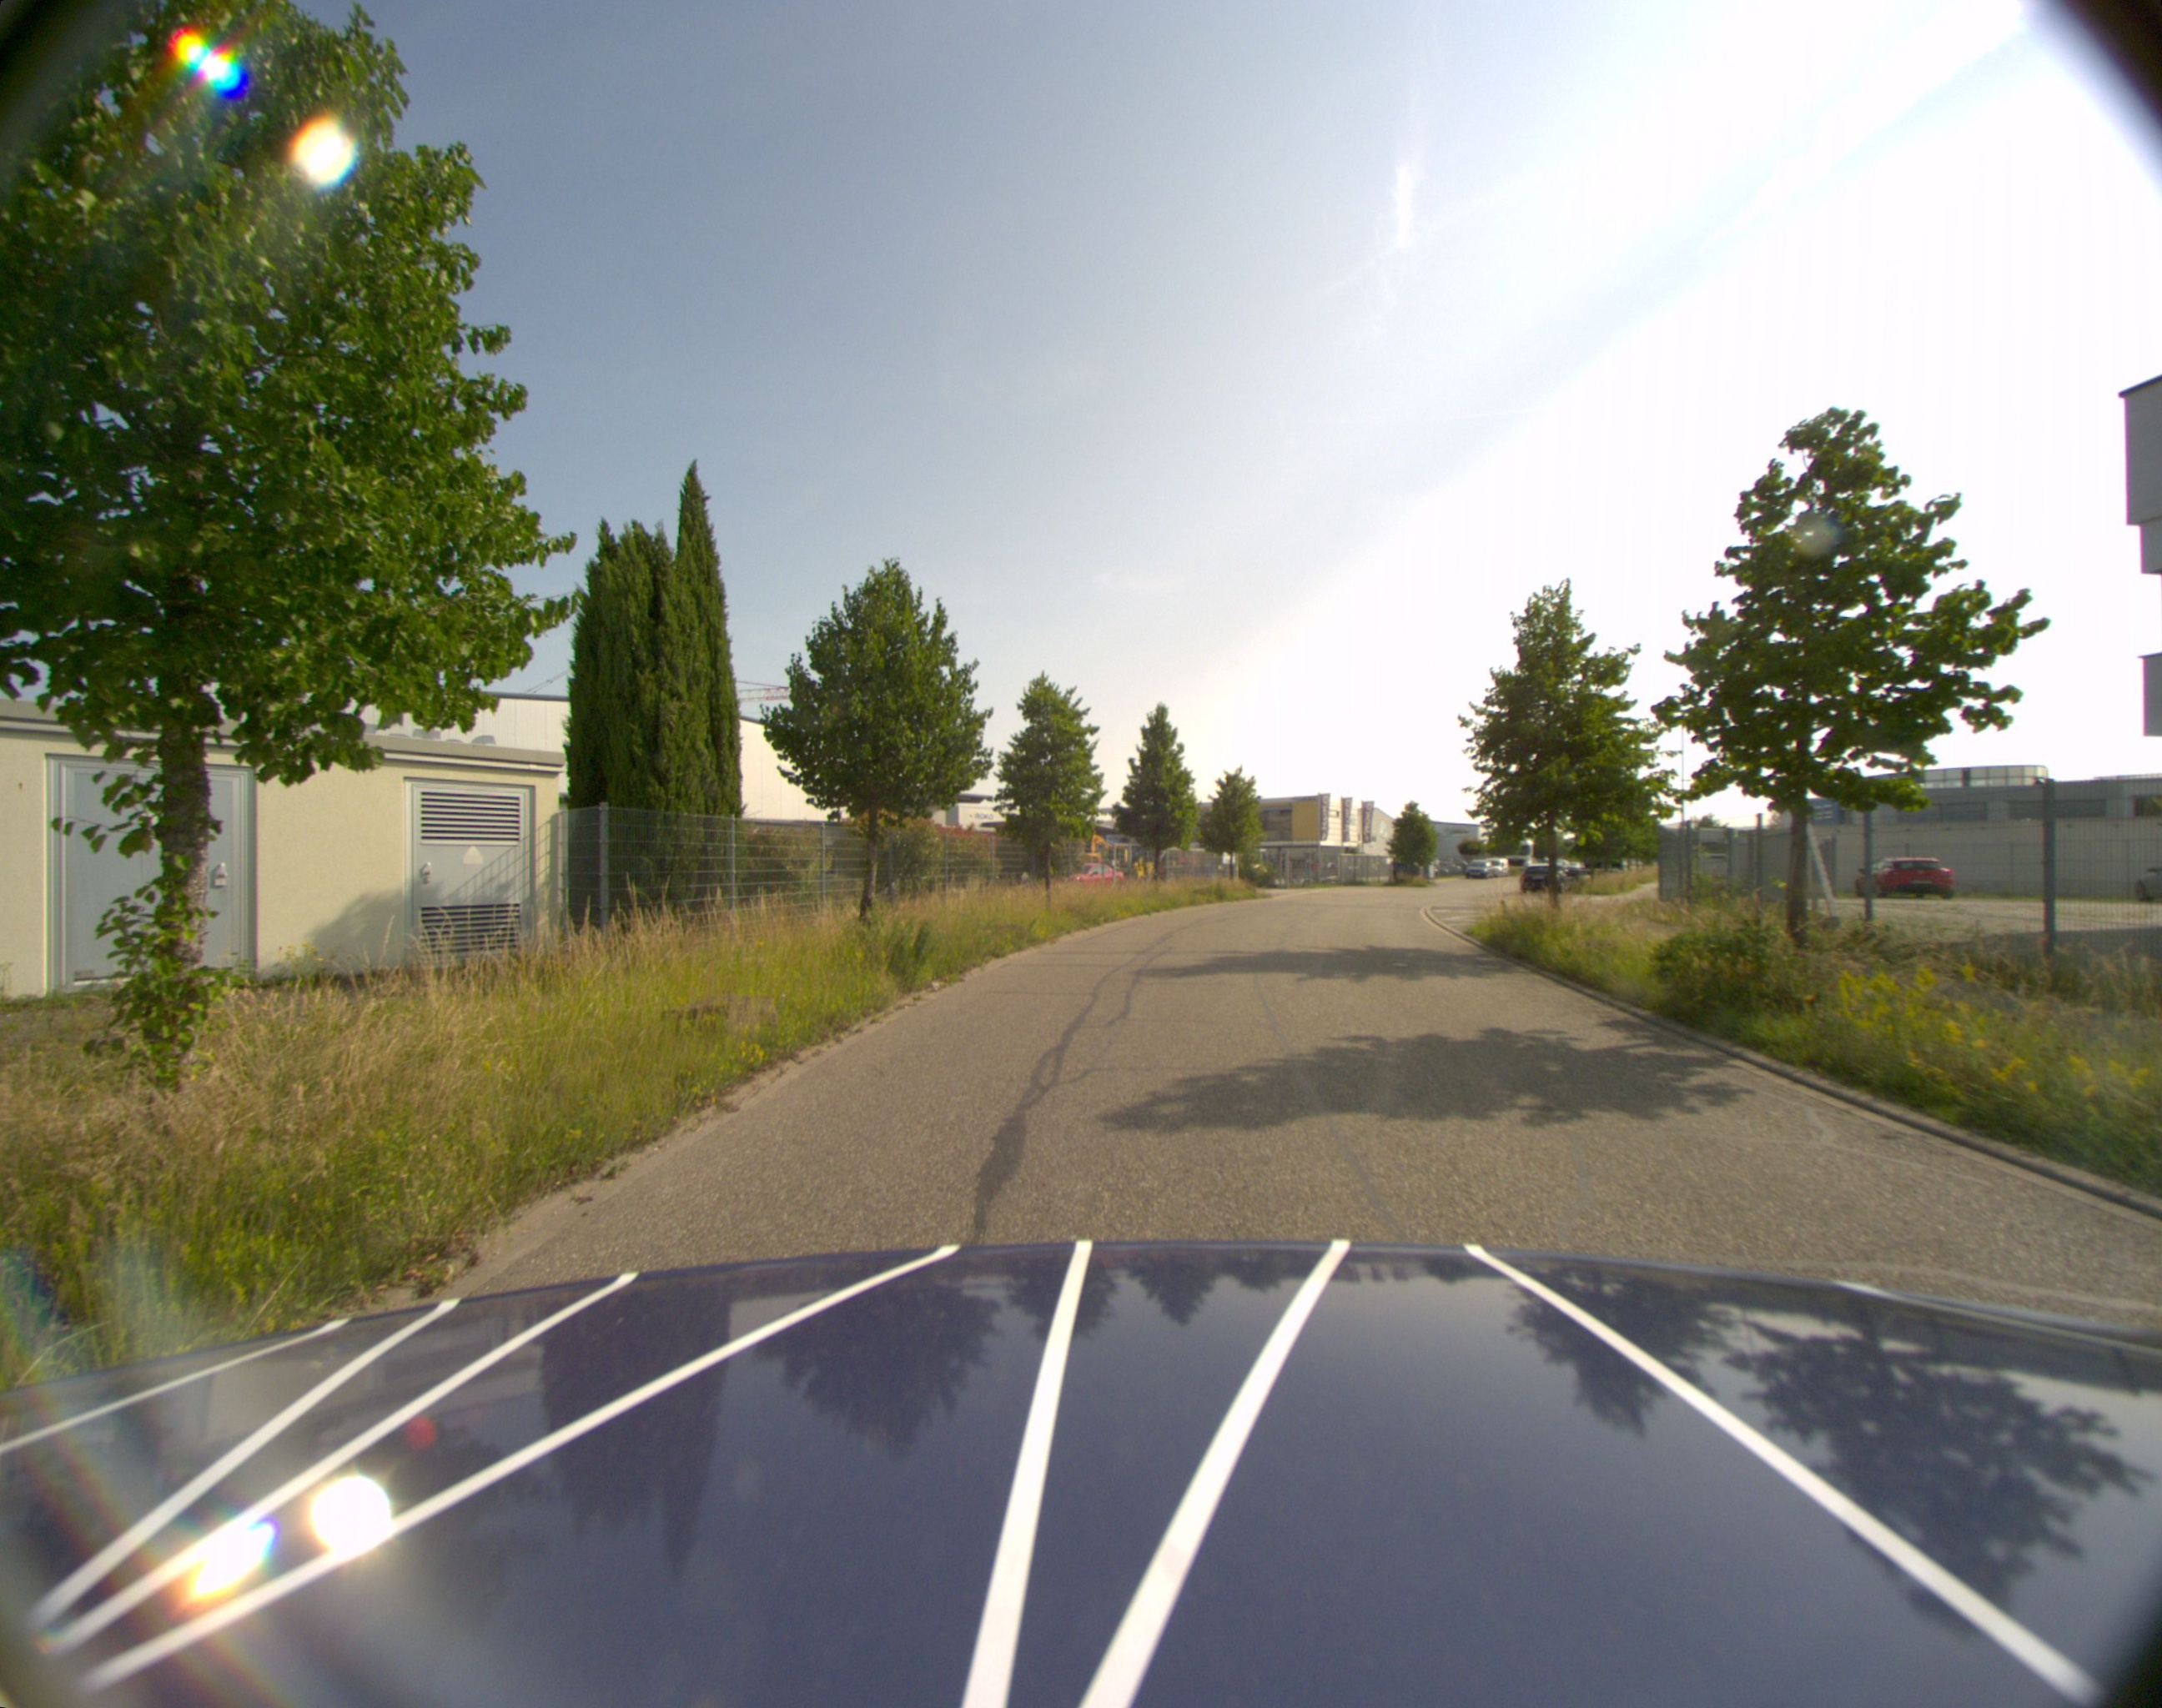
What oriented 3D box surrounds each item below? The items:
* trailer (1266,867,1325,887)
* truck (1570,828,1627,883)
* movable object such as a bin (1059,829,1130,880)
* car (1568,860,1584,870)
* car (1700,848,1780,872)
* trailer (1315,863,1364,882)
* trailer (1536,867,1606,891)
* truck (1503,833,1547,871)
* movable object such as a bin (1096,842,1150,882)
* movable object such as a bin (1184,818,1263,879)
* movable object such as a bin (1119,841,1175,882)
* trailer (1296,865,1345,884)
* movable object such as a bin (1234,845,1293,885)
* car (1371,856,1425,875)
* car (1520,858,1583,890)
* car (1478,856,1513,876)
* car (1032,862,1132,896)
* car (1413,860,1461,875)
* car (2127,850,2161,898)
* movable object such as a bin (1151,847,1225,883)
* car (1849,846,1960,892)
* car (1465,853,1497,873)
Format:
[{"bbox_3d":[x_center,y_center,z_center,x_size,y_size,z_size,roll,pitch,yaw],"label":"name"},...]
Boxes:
[{"bbox_3d":[14.366,1.492,50.706,2.127,1.236,4.806,0,0,38],"label":"trailer"},{"bbox_3d":[39.637,0.082,58.016,2.457,3.858,9.823,-2,-1,41],"label":"truck"},{"bbox_3d":[1.130,0.037,60.863,2.685,3.851,5.730,0,0,40],"label":"movable object such as a bin"},{"bbox_3d":[76.893,1.745,118.004,1.664,1.495,3.549,2,1,39],"label":"car"},{"bbox_3d":[51.874,0.494,59.911,4.706,1.825,2.107,-1,0,40],"label":"car"},{"bbox_3d":[19.907,1.436,58.495,1.994,1.303,4.573,-1,0,40],"label":"trailer"},{"bbox_3d":[27.317,1.349,42.239,2.131,1.225,7.173,-3,-2,42],"label":"trailer"},{"bbox_3d":[49.825,-0.210,85.176,2.746,3.992,9.707,2,1,39],"label":"truck"},{"bbox_3d":[3.316,0.615,59.219,1.993,3.014,4.383,0,0,40],"label":"movable object such as a bin"},{"bbox_3d":[11.970,-0.368,63.261,3.317,4.778,7.690,0,-1,38],"label":"movable object such as a bin"},{"bbox_3d":[5.045,0.576,57.654,1.993,3.014,4.502,0,0,40],"label":"movable object such as a bin"},{"bbox_3d":[17.255,1.457,54.675,1.945,1.236,4.303,0,0,38],"label":"trailer"},{"bbox_3d":[12.845,0.747,53.338,1.887,2.736,5.171,0,0,40],"label":"movable object such as a bin"},{"bbox_3d":[28.797,1.040,69.087,4.226,1.727,1.903,-1,0,32],"label":"car"},{"bbox_3d":[23.361,0.992,37.653,1.995,1.457,4.442,-2,-3,40],"label":"car"},{"bbox_3d":[39.265,1.087,71.971,1.994,1.779,4.609,-1,0,41],"label":"car"},{"bbox_3d":[0.130,1.006,32.822,1.881,1.350,4.784,0,-1,36],"label":"car"},{"bbox_3d":[35.353,1.317,75.440,3.989,1.362,1.794,-2,-2,35],"label":"car"},{"bbox_3d":[34.052,0.610,22.904,1.833,1.485,4.488,0,-2,39],"label":"car"},{"bbox_3d":[7.848,0.791,55.335,2.923,2.477,5.350,0,0,40],"label":"movable object such as a bin"},{"bbox_3d":[29.479,0.555,27.359,1.771,1.516,4.314,0,-2,34],"label":"car"},{"bbox_3d":[36.208,0.792,68.753,1.826,1.710,4.257,-1,0,38],"label":"car"}]
